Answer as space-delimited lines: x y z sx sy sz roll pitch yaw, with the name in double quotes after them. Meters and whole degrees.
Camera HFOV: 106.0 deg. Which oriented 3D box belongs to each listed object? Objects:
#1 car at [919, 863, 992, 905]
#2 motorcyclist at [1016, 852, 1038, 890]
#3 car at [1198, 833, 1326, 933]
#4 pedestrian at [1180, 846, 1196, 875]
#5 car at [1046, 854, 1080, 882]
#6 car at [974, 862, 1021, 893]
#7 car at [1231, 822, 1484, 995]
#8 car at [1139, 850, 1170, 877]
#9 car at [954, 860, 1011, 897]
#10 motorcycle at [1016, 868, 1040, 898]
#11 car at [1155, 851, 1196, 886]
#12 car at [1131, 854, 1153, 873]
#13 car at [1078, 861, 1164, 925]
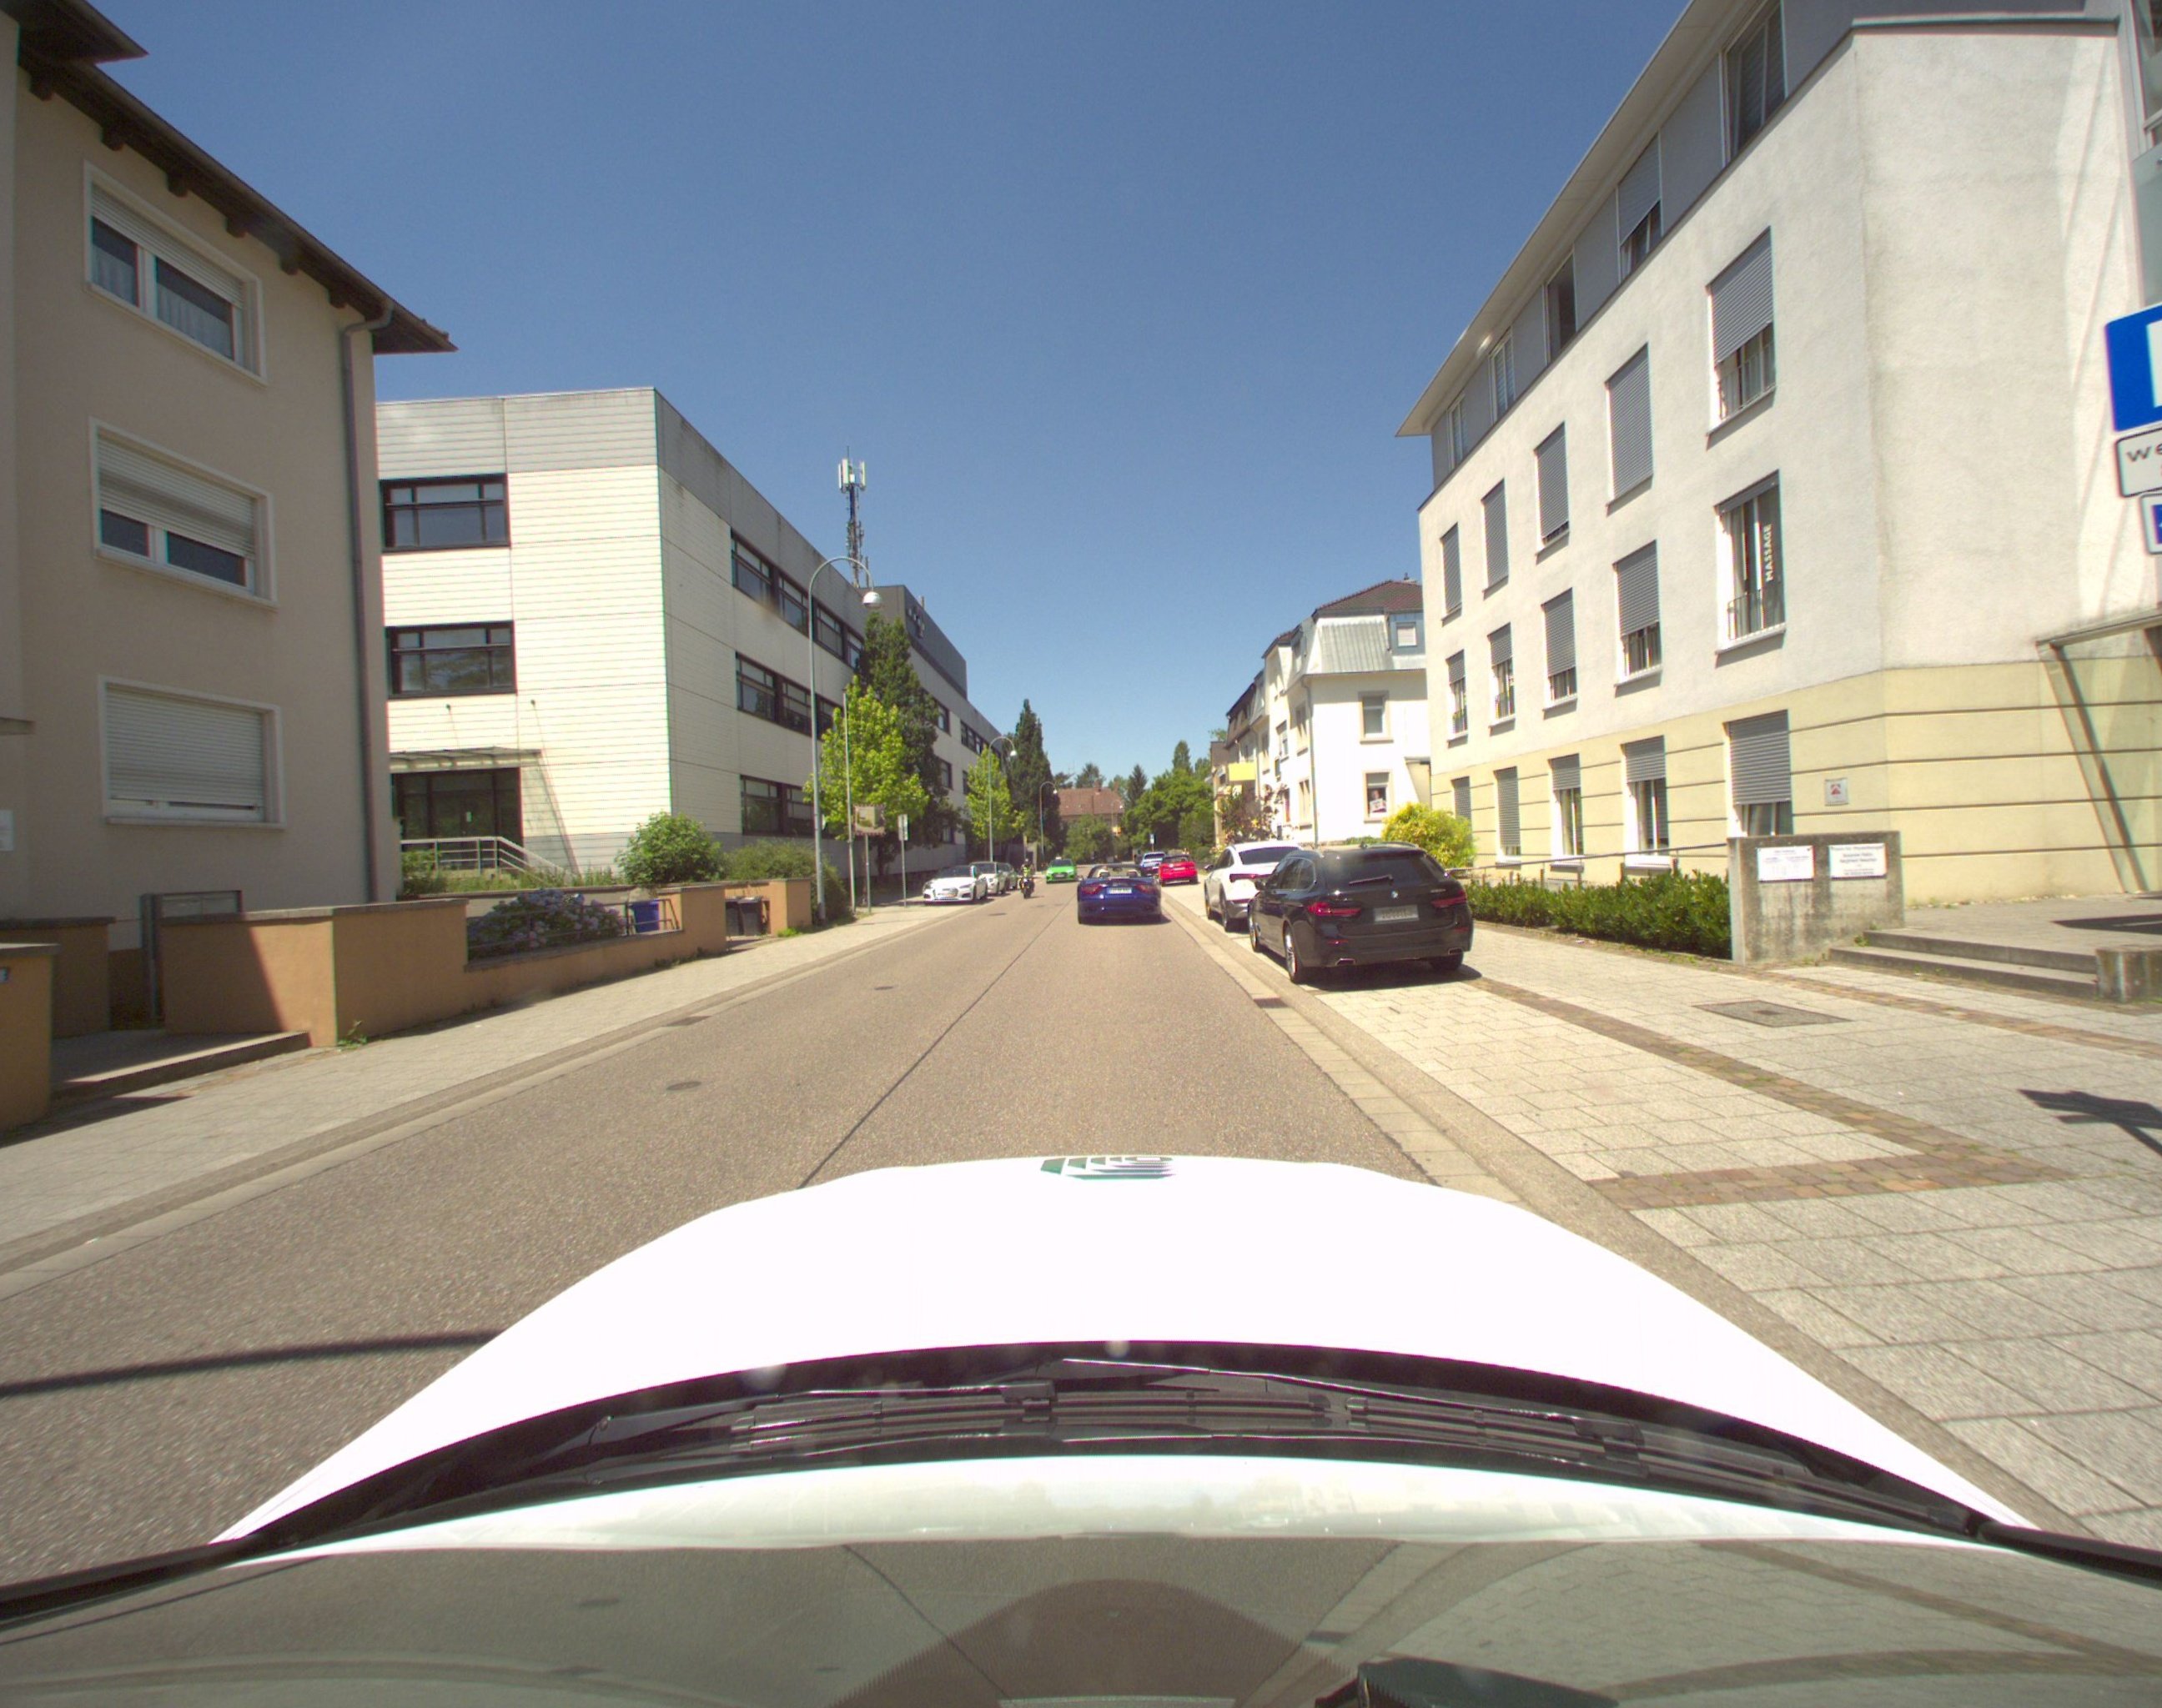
-4.656 1.079 30.816 1.815 1.411 4.580 -2 0 2 "car"
-2.158 0.672 32.479 0.696 1.433 0.707 -4 -1 2 "motorcyclist"
3.528 0.522 16.688 1.698 1.666 4.583 -3 0 2 "car"
6.534 0.395 49.868 0.738 1.669 0.706 -5 -1 0 "pedestrian"
-1.049 0.846 50.303 1.816 1.588 4.101 -4 -1 1 "car"
-4.170 1.139 41.355 1.740 1.409 3.936 -2 0 3 "car"
3.202 0.553 10.532 1.698 1.556 4.751 -6 0 2 "car"
4.923 0.605 54.968 1.836 1.619 4.430 -4 0 3 "car"
-4.369 1.054 36.601 1.815 1.512 4.292 -2 0 2 "car"
-2.122 1.140 32.554 0.696 1.107 1.791 -4 -1 2 "motorcycle"
4.380 0.653 38.189 1.597 1.440 3.856 -5 0 3 "car"
5.185 0.763 69.480 1.625 1.446 4.400 -5 0 2 "car"
0.945 0.862 19.780 1.819 1.337 4.702 -1 -1 2 "car"
